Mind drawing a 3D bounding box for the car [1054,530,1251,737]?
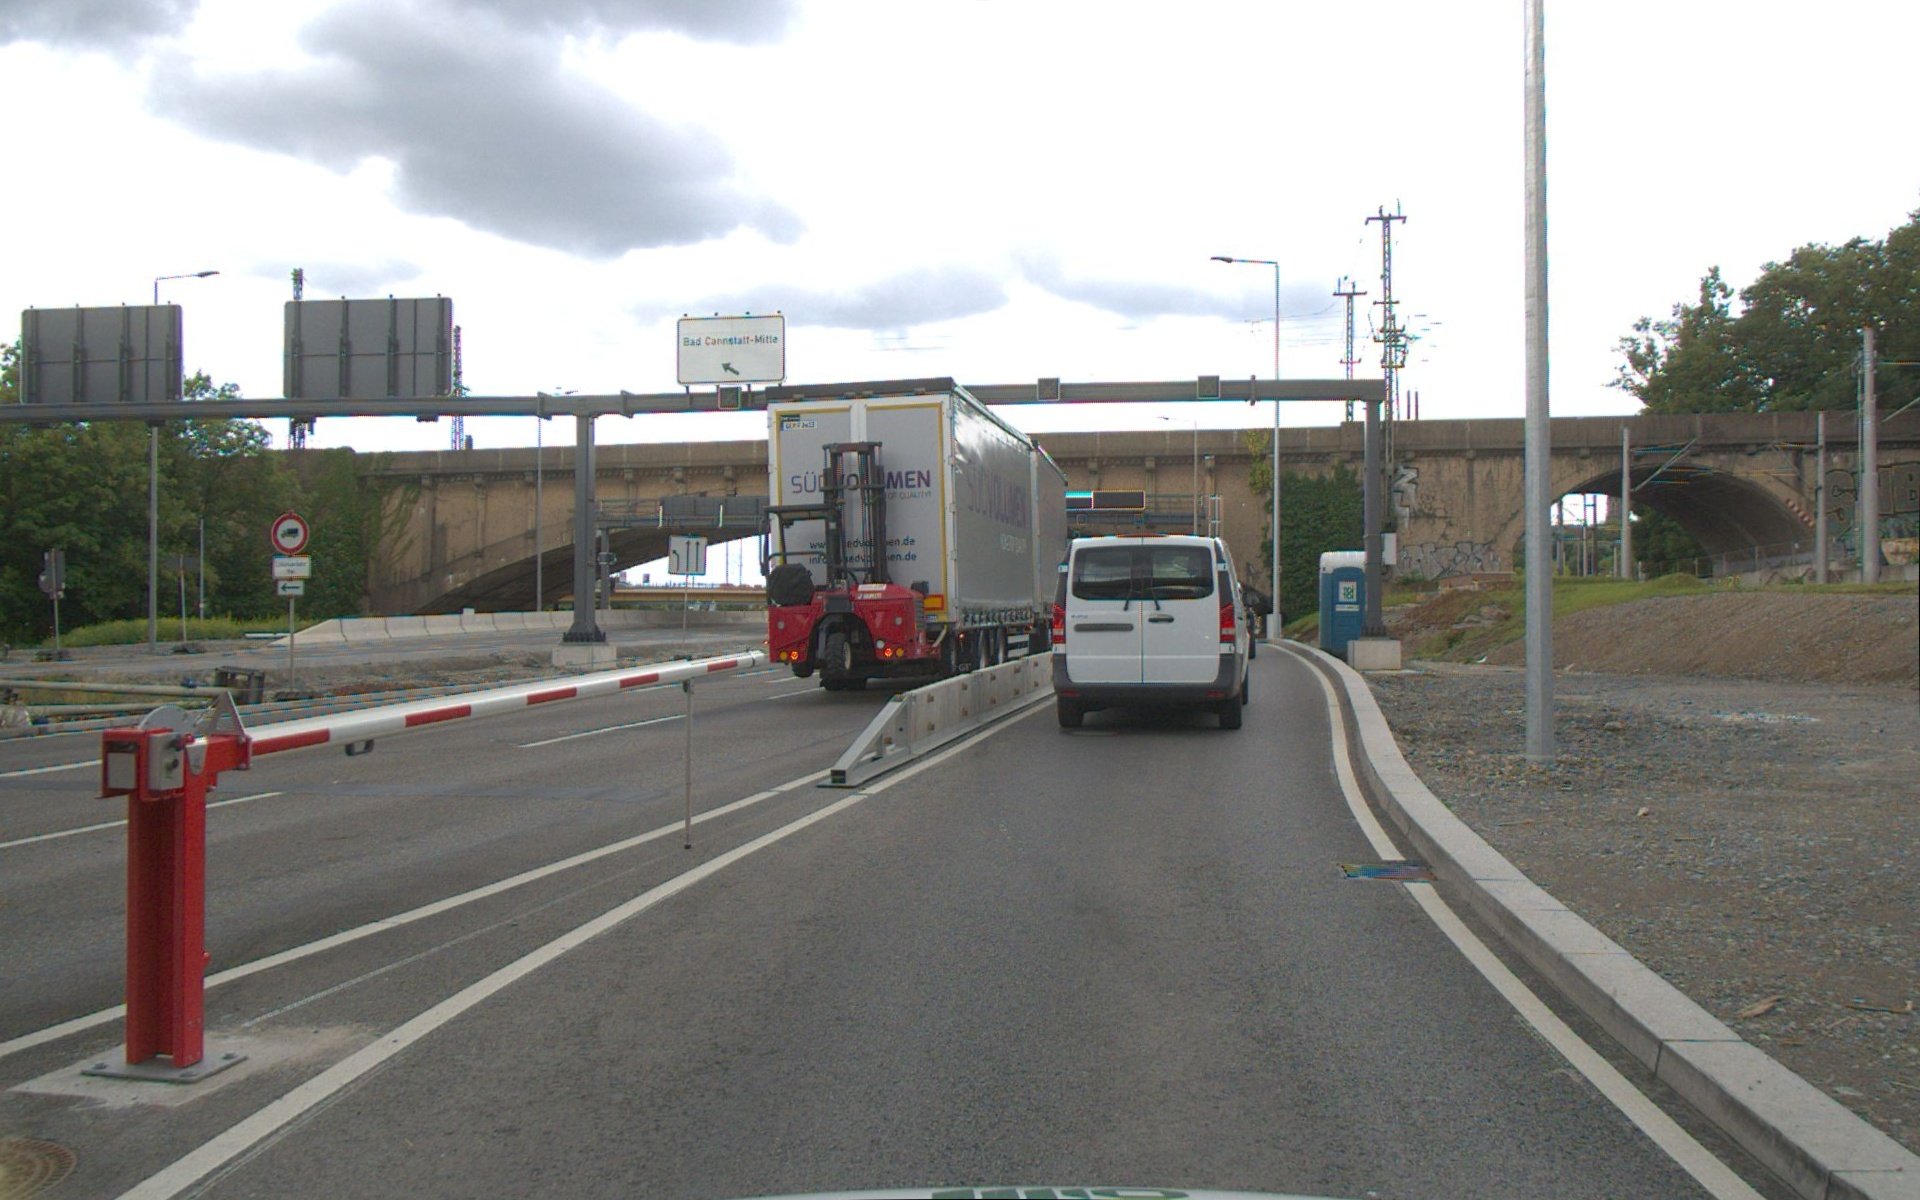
[{"bbox_3d":[2.183,0.266,17.855,1.836,1.924,4.757,0,1,9],"label":"car"}]

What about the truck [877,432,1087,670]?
[{"bbox_3d":[0.802,-0.848,35.284,2.924,4.249,11.249,1,0,9],"label":"truck"}]

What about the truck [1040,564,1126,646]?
[{"bbox_3d":[6.811,0.256,88.735,3.246,3.876,16.606,2,0,9],"label":"truck"}]

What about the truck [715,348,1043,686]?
[{"bbox_3d":[-0.755,-0.909,25.232,2.855,4.088,10.208,1,-1,9],"label":"truck"}]

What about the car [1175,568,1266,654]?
[{"bbox_3d":[5.359,0.227,34.019,1.712,1.654,3.848,-1,0,9],"label":"car"}]

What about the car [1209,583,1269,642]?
[{"bbox_3d":[7.743,0.377,45.686,1.469,1.495,3.401,0,-3,12],"label":"car"}]
